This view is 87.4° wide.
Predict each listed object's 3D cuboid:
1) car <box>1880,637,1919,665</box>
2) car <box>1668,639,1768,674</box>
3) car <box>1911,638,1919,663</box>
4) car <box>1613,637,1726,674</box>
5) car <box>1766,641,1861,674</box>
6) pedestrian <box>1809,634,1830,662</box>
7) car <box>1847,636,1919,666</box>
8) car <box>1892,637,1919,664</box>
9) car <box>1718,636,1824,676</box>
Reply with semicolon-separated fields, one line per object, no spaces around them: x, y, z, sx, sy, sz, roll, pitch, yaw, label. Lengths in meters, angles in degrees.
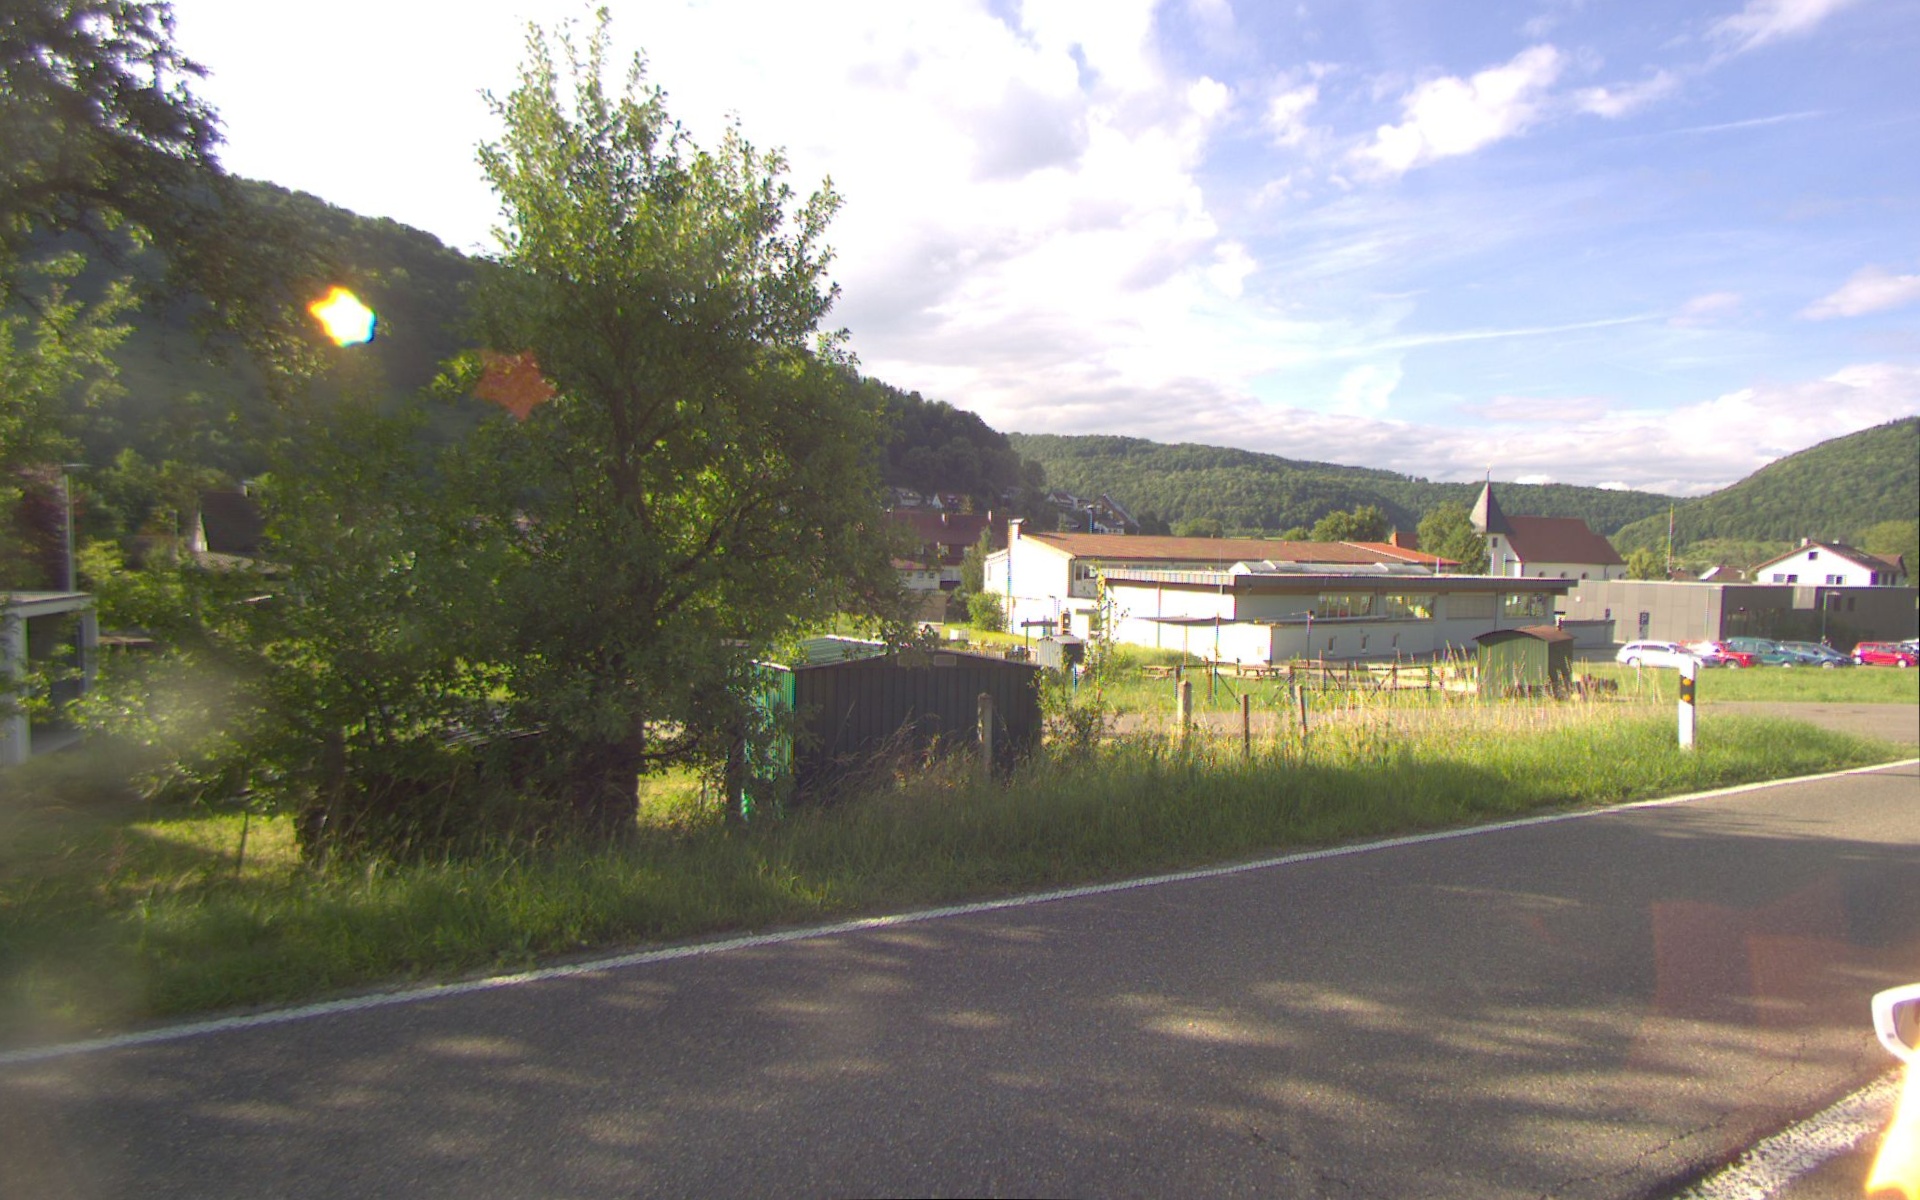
64.451;3.448;67.139;1.978;1.733;3.965;2;0;-32;car
42.208;3.128;56.011;1.978;1.733;3.965;2;0;-32;car
70.171;3.645;70.960;1.978;1.733;3.965;2;0;-32;car
39.106;3.030;55.483;1.978;1.733;4.705;2;0;-32;car
51.354;3.433;60.516;1.978;1.733;3.965;2;0;-32;car
63.420;3.516;74.115;0.962;2.040;0.821;2;0;-30;pedestrian
60.440;3.314;65.110;1.978;1.733;3.965;2;0;-32;car
67.330;3.549;69.396;1.978;1.733;3.965;2;0;-32;car
47.301;3.229;58.661;1.978;2.034;4.382;2;0;-32;car
